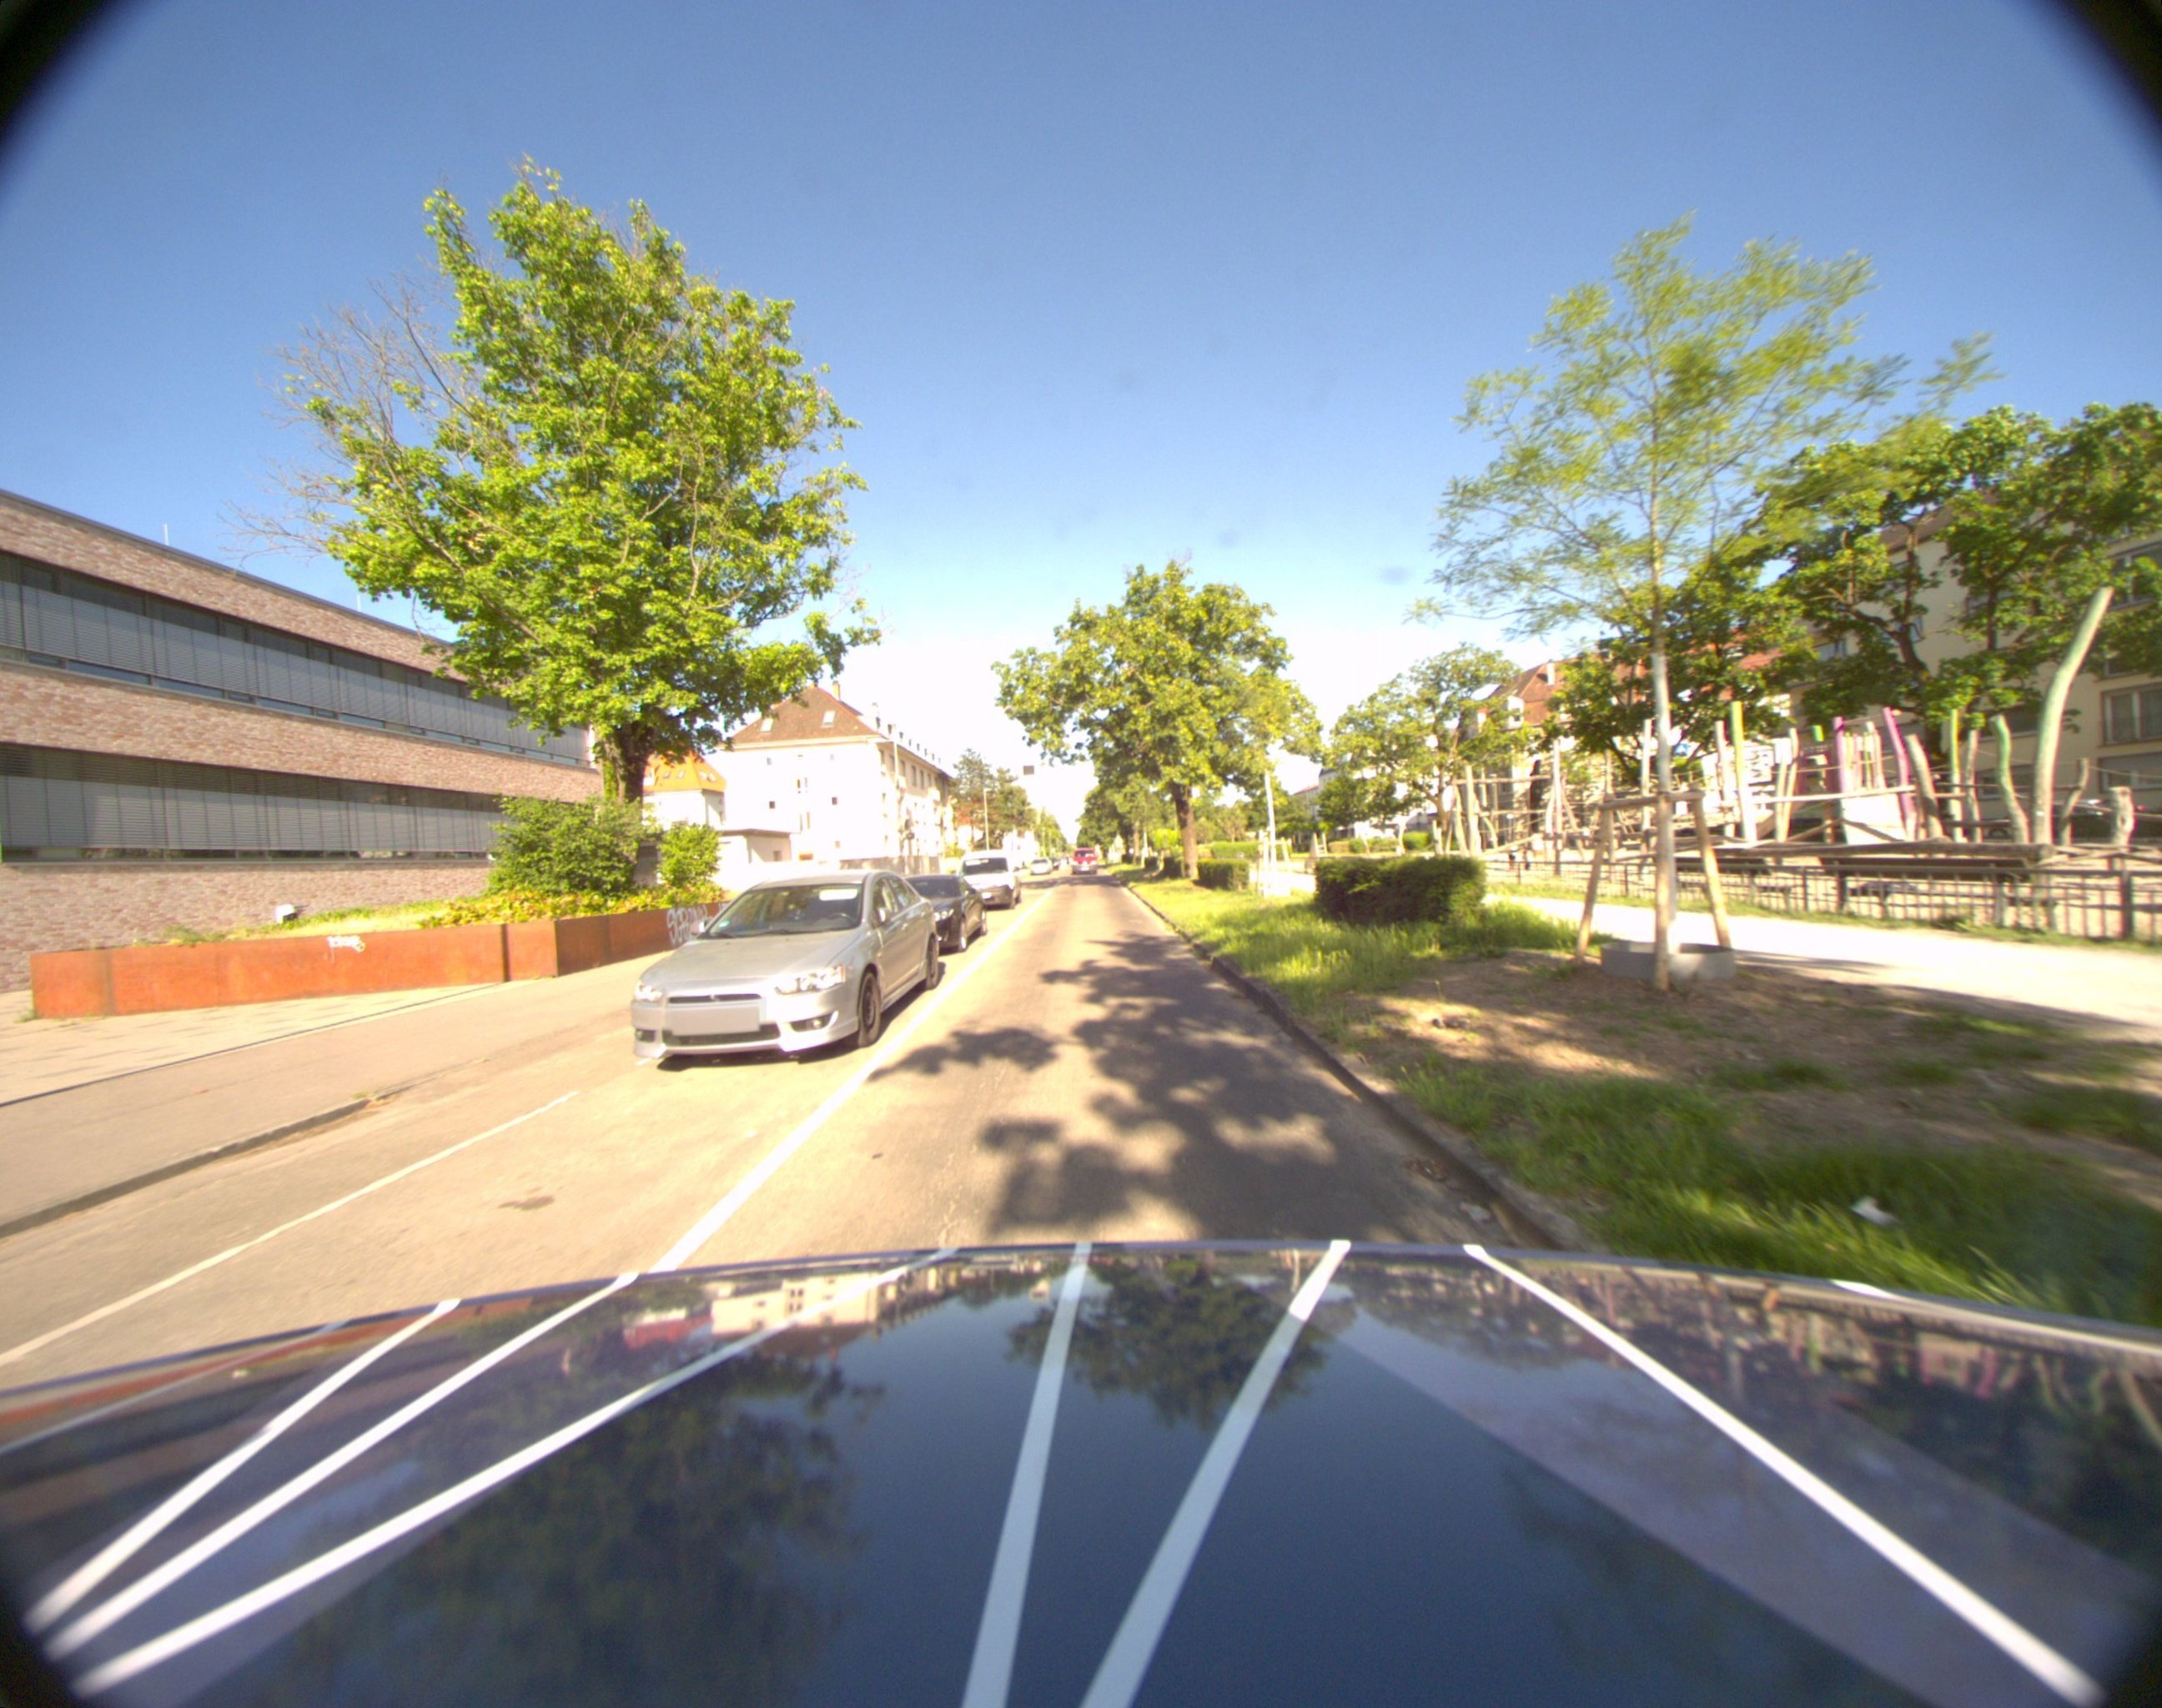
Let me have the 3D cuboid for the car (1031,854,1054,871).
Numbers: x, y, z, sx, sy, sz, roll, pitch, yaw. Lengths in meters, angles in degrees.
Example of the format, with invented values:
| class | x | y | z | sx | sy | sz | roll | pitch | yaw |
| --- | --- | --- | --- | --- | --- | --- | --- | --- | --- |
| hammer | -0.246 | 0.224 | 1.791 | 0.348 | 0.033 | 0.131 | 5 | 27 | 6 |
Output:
| class | x | y | z | sx | sy | sz | roll | pitch | yaw |
| --- | --- | --- | --- | --- | --- | --- | --- | --- | --- |
| car | -3.573 | 0.750 | 71.846 | 1.799 | 1.413 | 4.288 | -5 | 0 | 1 |

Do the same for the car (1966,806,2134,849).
| class | x | y | z | sx | sy | sz | roll | pitch | yaw |
| --- | --- | --- | --- | --- | --- | --- | --- | --- | --- |
| car | 39.741 | -1.033 | 31.325 | 1.799 | 1.501 | 4.000 | -4 | 0 | 1 |

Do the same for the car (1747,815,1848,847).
| class | x | y | z | sx | sy | sz | roll | pitch | yaw |
| --- | --- | --- | --- | --- | --- | --- | --- | --- | --- |
| car | 39.567 | -1.245 | 42.091 | 1.799 | 1.545 | 4.000 | -4 | 0 | 0 |

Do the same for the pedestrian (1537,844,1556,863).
| class | x | y | z | sx | sy | sz | roll | pitch | yaw |
| --- | --- | --- | --- | --- | --- | --- | --- | --- | --- |
| pedestrian | 24.188 | -0.022 | 39.477 | 0.542 | 0.973 | 0.778 | -3 | 0 | 8 |

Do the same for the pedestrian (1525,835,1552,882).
| class | x | y | z | sx | sy | sz | roll | pitch | yaw |
| --- | --- | --- | --- | --- | --- | --- | --- | --- | --- |
| pedestrian | 16.576 | 0.162 | 27.532 | 0.649 | 1.652 | 0.651 | -3 | 1 | 19 |

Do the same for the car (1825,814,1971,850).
| class | x | y | z | sx | sy | sz | roll | pitch | yaw |
| --- | --- | --- | --- | --- | --- | --- | --- | --- | --- |
| car | 39.549 | -1.032 | 36.976 | 1.911 | 1.501 | 4.764 | -4 | 0 | 0 |

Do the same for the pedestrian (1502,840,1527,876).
| class | x | y | z | sx | sy | sz | roll | pitch | yaw |
| --- | --- | --- | --- | --- | --- | --- | --- | --- | --- |
| pedestrian | 16.546 | 0.166 | 28.991 | 0.649 | 1.321 | 0.651 | -3 | 1 | 19 |

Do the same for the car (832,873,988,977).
| class | x | y | z | sx | sy | sz | roll | pitch | yaw |
| --- | --- | --- | --- | --- | --- | --- | --- | --- | --- |
| car | -2.802 | 1.116 | 13.398 | 1.706 | 1.317 | 4.129 | -4 | 0 | 0 |

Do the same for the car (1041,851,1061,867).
| class | x | y | z | sx | sy | sz | roll | pitch | yaw |
| --- | --- | --- | --- | --- | --- | --- | --- | --- | --- |
| car | -3.205 | 0.555 | 81.519 | 1.799 | 1.501 | 3.994 | -5 | 0 | 1 |

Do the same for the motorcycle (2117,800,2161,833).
| class | x | y | z | sx | sy | sz | roll | pitch | yaw |
| --- | --- | --- | --- | --- | --- | --- | --- | --- | --- |
| motorcycle | 39.539 | -1.401 | 28.178 | 1.800 | 1.101 | 0.500 | -3 | 1 | -7 |

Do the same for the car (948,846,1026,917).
| class | x | y | z | sx | sy | sz | roll | pitch | yaw |
| --- | --- | --- | --- | --- | --- | --- | --- | --- | --- |
| car | -2.850 | 0.779 | 23.941 | 1.812 | 1.897 | 4.460 | -4 | 0 | -1 |

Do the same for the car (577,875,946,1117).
| class | x | y | z | sx | sy | sz | roll | pitch | yaw |
| --- | --- | --- | --- | --- | --- | --- | --- | --- | --- |
| car | -2.624 | 1.064 | 7.445 | 1.705 | 1.470 | 4.173 | -4 | 0 | 1 |

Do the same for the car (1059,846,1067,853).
| class | x | y | z | sx | sy | sz | roll | pitch | yaw |
| --- | --- | --- | --- | --- | --- | --- | --- | --- | --- |
| car | -4.555 | -1.142 | 194.785 | 1.799 | 1.529 | 4.001 | -3 | -1 | 0 |

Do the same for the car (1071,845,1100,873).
| class | x | y | z | sx | sy | sz | roll | pitch | yaw |
| --- | --- | --- | --- | --- | --- | --- | --- | --- | --- |
| car | 0.350 | 0.379 | 57.873 | 2.092 | 2.000 | 4.844 | -2 | 0 | 0 |

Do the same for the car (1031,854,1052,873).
| class | x | y | z | sx | sy | sz | roll | pitch | yaw |
| --- | --- | --- | --- | --- | --- | --- | --- | --- | --- |
| car | -3.397 | 0.787 | 65.346 | 1.664 | 1.456 | 4.410 | -5 | 0 | -3 |
